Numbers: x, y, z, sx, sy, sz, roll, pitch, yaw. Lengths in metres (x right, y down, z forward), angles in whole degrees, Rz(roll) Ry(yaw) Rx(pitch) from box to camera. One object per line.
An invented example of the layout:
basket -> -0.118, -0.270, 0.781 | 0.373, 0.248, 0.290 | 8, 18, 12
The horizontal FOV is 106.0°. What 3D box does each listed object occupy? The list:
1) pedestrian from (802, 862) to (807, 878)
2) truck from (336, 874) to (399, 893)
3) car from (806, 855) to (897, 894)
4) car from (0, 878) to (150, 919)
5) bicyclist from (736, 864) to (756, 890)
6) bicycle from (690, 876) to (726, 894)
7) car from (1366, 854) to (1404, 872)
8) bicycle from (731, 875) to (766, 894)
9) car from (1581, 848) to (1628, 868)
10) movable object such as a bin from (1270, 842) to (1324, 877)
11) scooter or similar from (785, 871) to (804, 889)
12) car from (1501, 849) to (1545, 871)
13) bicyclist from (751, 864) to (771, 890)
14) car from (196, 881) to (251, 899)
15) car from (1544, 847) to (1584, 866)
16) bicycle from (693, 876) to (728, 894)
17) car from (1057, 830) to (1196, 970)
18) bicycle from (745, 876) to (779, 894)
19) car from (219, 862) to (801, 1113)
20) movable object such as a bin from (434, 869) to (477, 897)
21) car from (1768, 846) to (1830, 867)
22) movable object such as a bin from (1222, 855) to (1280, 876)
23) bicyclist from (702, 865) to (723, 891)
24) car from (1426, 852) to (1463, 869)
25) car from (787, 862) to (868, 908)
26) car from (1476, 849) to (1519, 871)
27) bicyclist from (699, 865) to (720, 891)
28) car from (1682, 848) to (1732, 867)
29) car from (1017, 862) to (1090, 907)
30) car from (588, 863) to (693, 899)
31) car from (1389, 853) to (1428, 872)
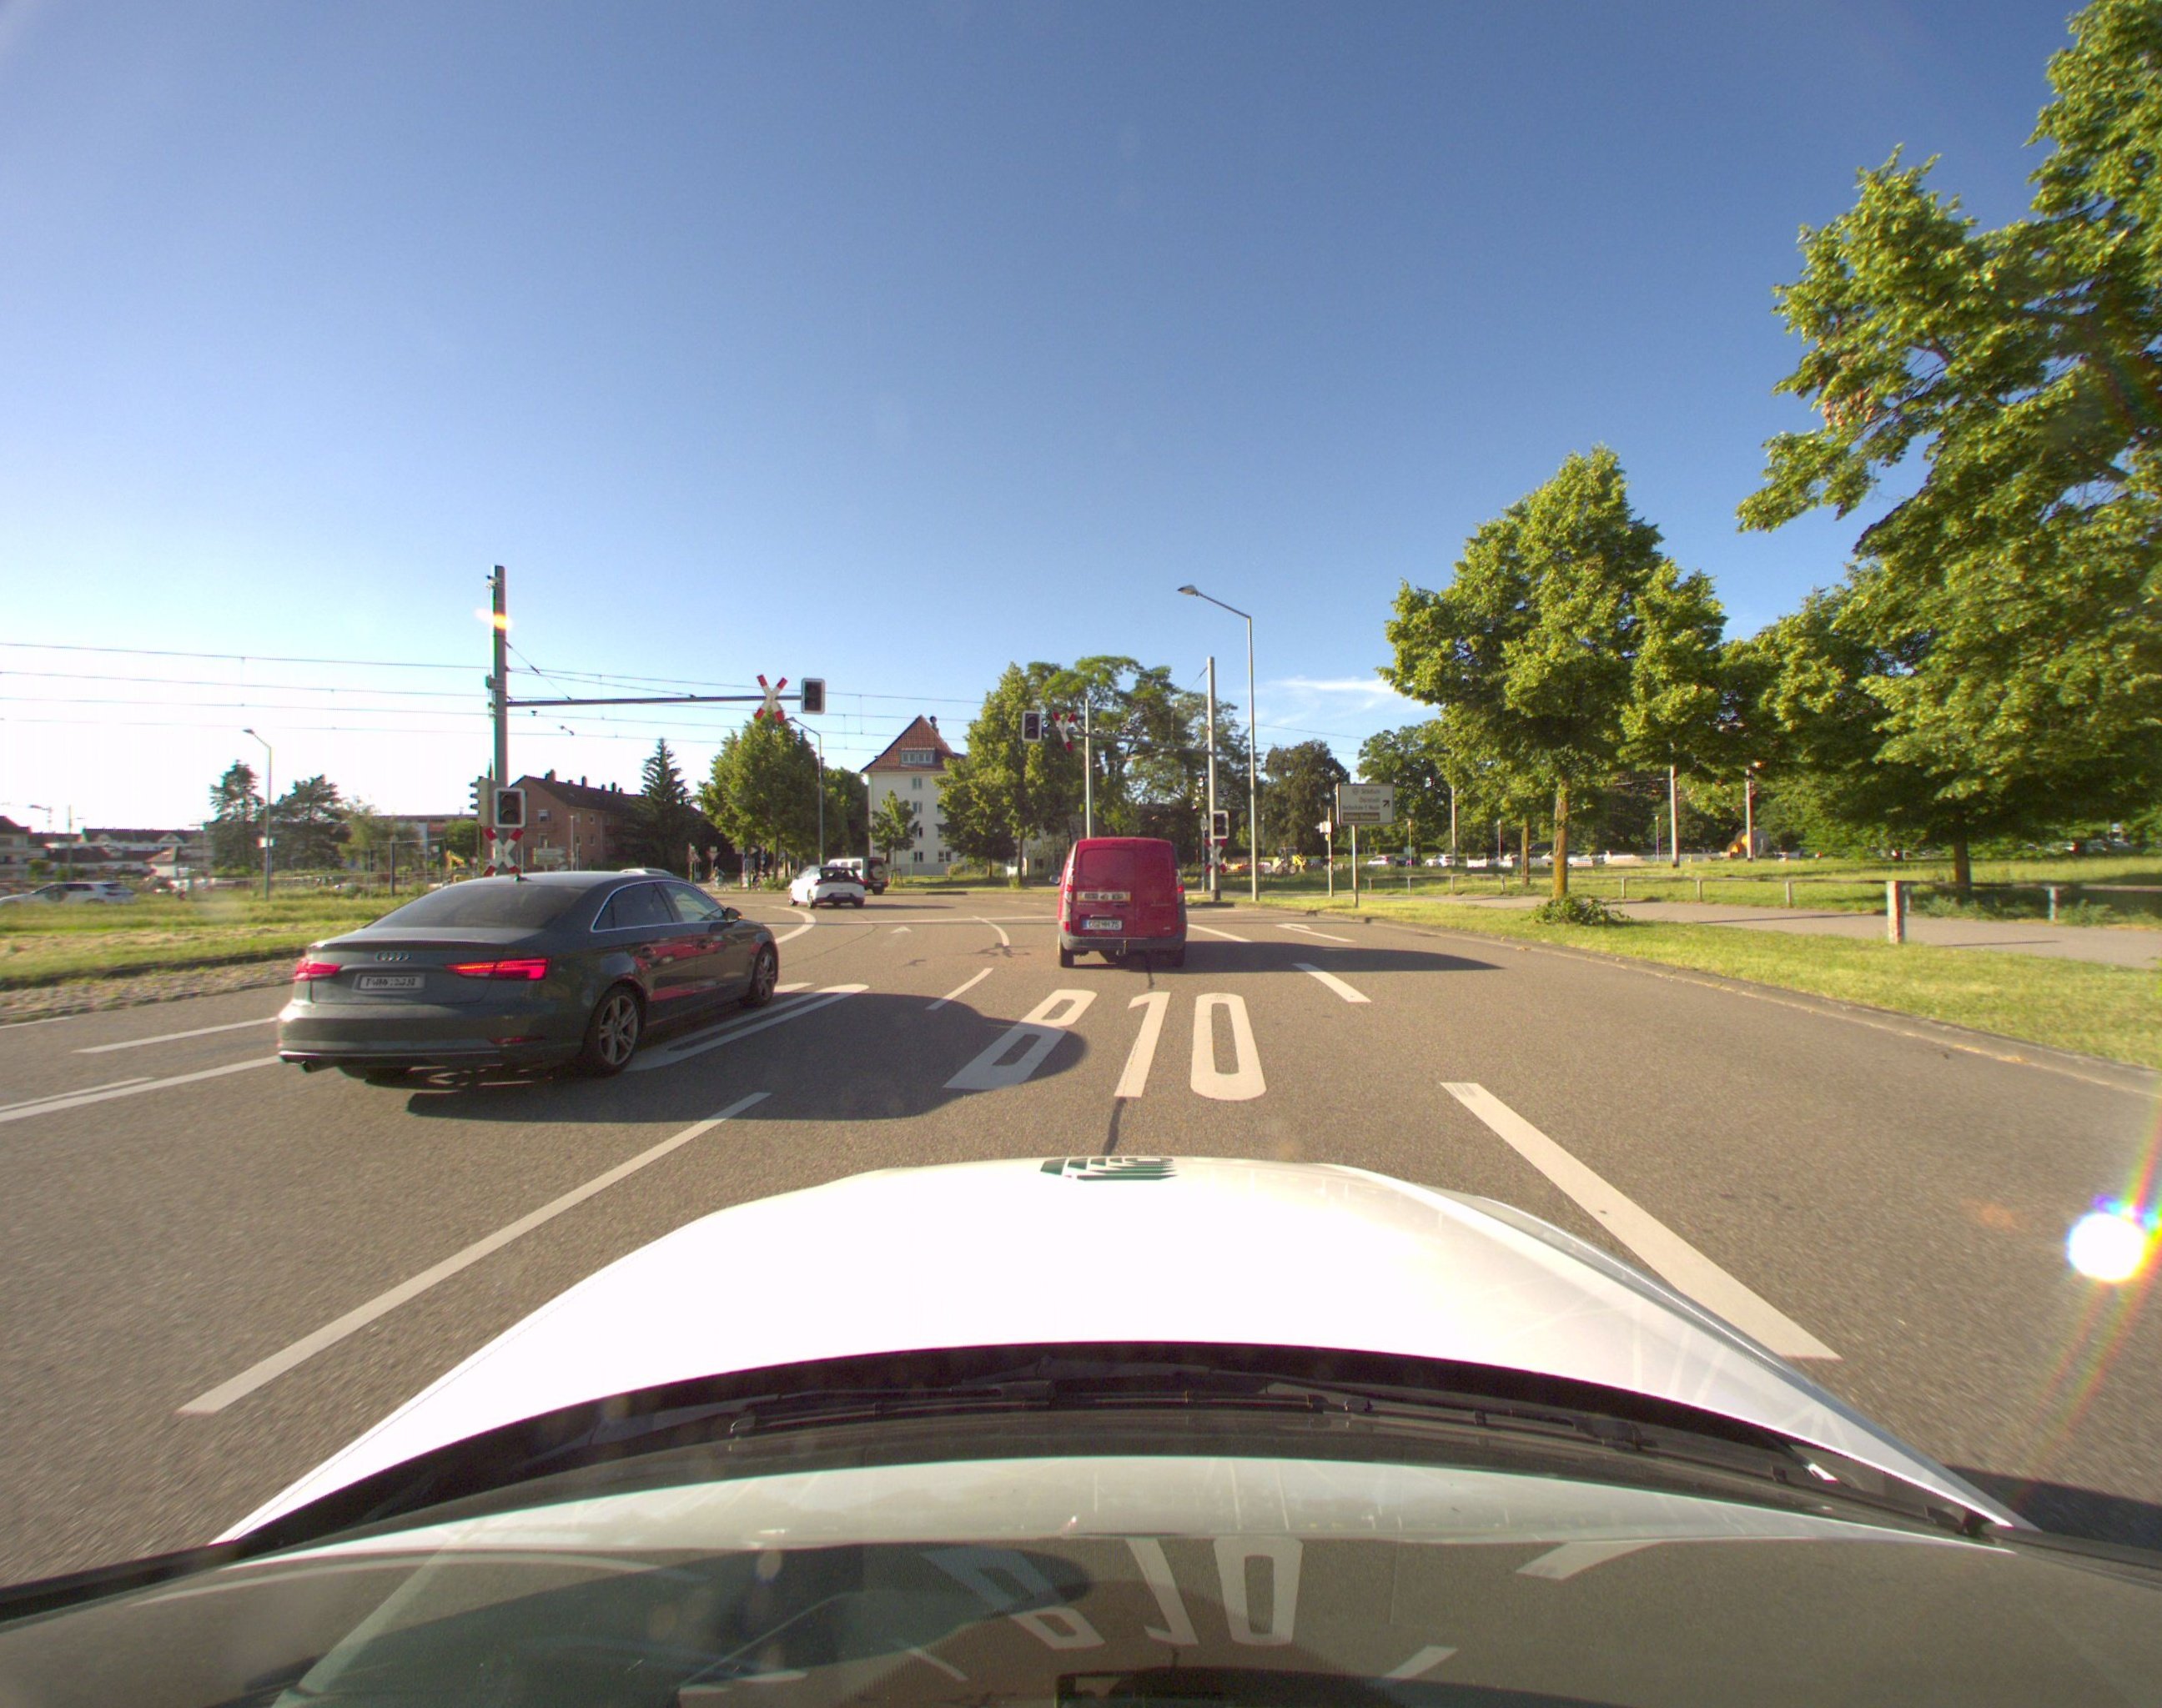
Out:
pedestrian -> -33.326, 1.919, 98.172 | 0.468, 2.014, 0.455 | -1, -1, 3
truck -> -79.746, 3.265, 91.015 | 6.365, 2.014, 2.180 | -1, -3, 16
car -> -12.059, 1.101, 42.648 | 4.691, 1.897, 2.016 | -2, -2, 34
car -> -46.018, 2.007, 37.028 | 4.415, 1.639, 1.984 | -1, 0, -25
bicyclist -> -23.713, 1.647, 57.708 | 1.016, 1.853, 0.814 | -1, -3, 10
bicycle -> -26.647, 2.224, 58.237 | 2.188, 1.266, 0.887 | -1, -3, 10
car -> 30.835, 0.910, 82.811 | 1.991, 1.723, 3.990 | 0, -2, -7
bicycle -> -23.553, 2.172, 57.667 | 2.188, 1.266, 0.820 | -1, -3, 10
car -> 55.045, 0.476, 85.724 | 1.991, 1.959, 3.990 | 0, -2, -7
movable object such as a bin -> 18.151, 0.520, 68.667 | 1.998, 2.789, 5.017 | 0, -3, -17
scooter or similar -> -20.670, 1.857, 58.832 | 1.251, 1.248, 0.446 | -2, -3, 16
car -> 45.662, 0.642, 84.177 | 1.991, 2.100, 3.990 | 0, -2, -7
bicyclist -> -23.100, 1.685, 58.757 | 1.016, 1.853, 0.814 | -1, -3, 10
car -> -95.999, 4.055, 91.200 | 4.457, 2.014, 2.005 | -1, -3, 9
car -> 50.390, 0.259, 84.978 | 1.685, 1.779, 3.842 | 0, -2, -3
bicycle -> -27.029, 2.280, 59.488 | 2.188, 1.266, 0.887 | -1, -3, 10
car -> 0.545, 0.591, 12.464 | 1.798, 1.813, 3.807 | 0, 0, -2
bicycle -> -22.978, 2.209, 58.699 | 2.188, 1.266, 0.820 | -1, -3, 10
car -> -4.041, 0.788, 6.869 | 1.754, 1.380, 4.359 | -1, 0, 1
movable object such as a bin -> -62.620, 2.901, 81.518 | 3.948, 2.774, 2.442 | -3, -3, 39
car -> 66.485, 0.262, 75.477 | 1.991, 1.756, 3.990 | 0, -2, -7
movable object such as a bin -> 16.347, 1.092, 78.277 | 5.013, 1.948, 2.228 | 0, -3, -15
bicyclist -> -26.916, 1.751, 59.497 | 1.016, 1.853, 0.887 | -1, -3, 11
car -> 37.152, 0.689, 83.218 | 1.824, 1.556, 3.799 | 0, -2, -5
car -> -8.709, 1.035, 27.839 | 1.814, 1.461, 3.772 | 1, -2, -31
car -> 42.764, 0.650, 83.738 | 1.991, 2.100, 3.990 | 0, -2, -7
bicyclist -> -26.598, 1.697, 58.266 | 1.016, 1.853, 0.887 | -1, -3, 11
car -> 67.047, 0.411, 87.244 | 1.991, 1.896, 3.990 | 0, -2, -7
car -> -1.047, 1.019, 28.552 | 1.716, 1.436, 4.131 | 0, -1, -14
car -> -20.546, 1.230, 37.992 | 4.354, 1.575, 2.011 | -1, 0, 23
car -> 33.183, 0.849, 82.600 | 1.991, 1.769, 3.990 | 0, -2, -7
